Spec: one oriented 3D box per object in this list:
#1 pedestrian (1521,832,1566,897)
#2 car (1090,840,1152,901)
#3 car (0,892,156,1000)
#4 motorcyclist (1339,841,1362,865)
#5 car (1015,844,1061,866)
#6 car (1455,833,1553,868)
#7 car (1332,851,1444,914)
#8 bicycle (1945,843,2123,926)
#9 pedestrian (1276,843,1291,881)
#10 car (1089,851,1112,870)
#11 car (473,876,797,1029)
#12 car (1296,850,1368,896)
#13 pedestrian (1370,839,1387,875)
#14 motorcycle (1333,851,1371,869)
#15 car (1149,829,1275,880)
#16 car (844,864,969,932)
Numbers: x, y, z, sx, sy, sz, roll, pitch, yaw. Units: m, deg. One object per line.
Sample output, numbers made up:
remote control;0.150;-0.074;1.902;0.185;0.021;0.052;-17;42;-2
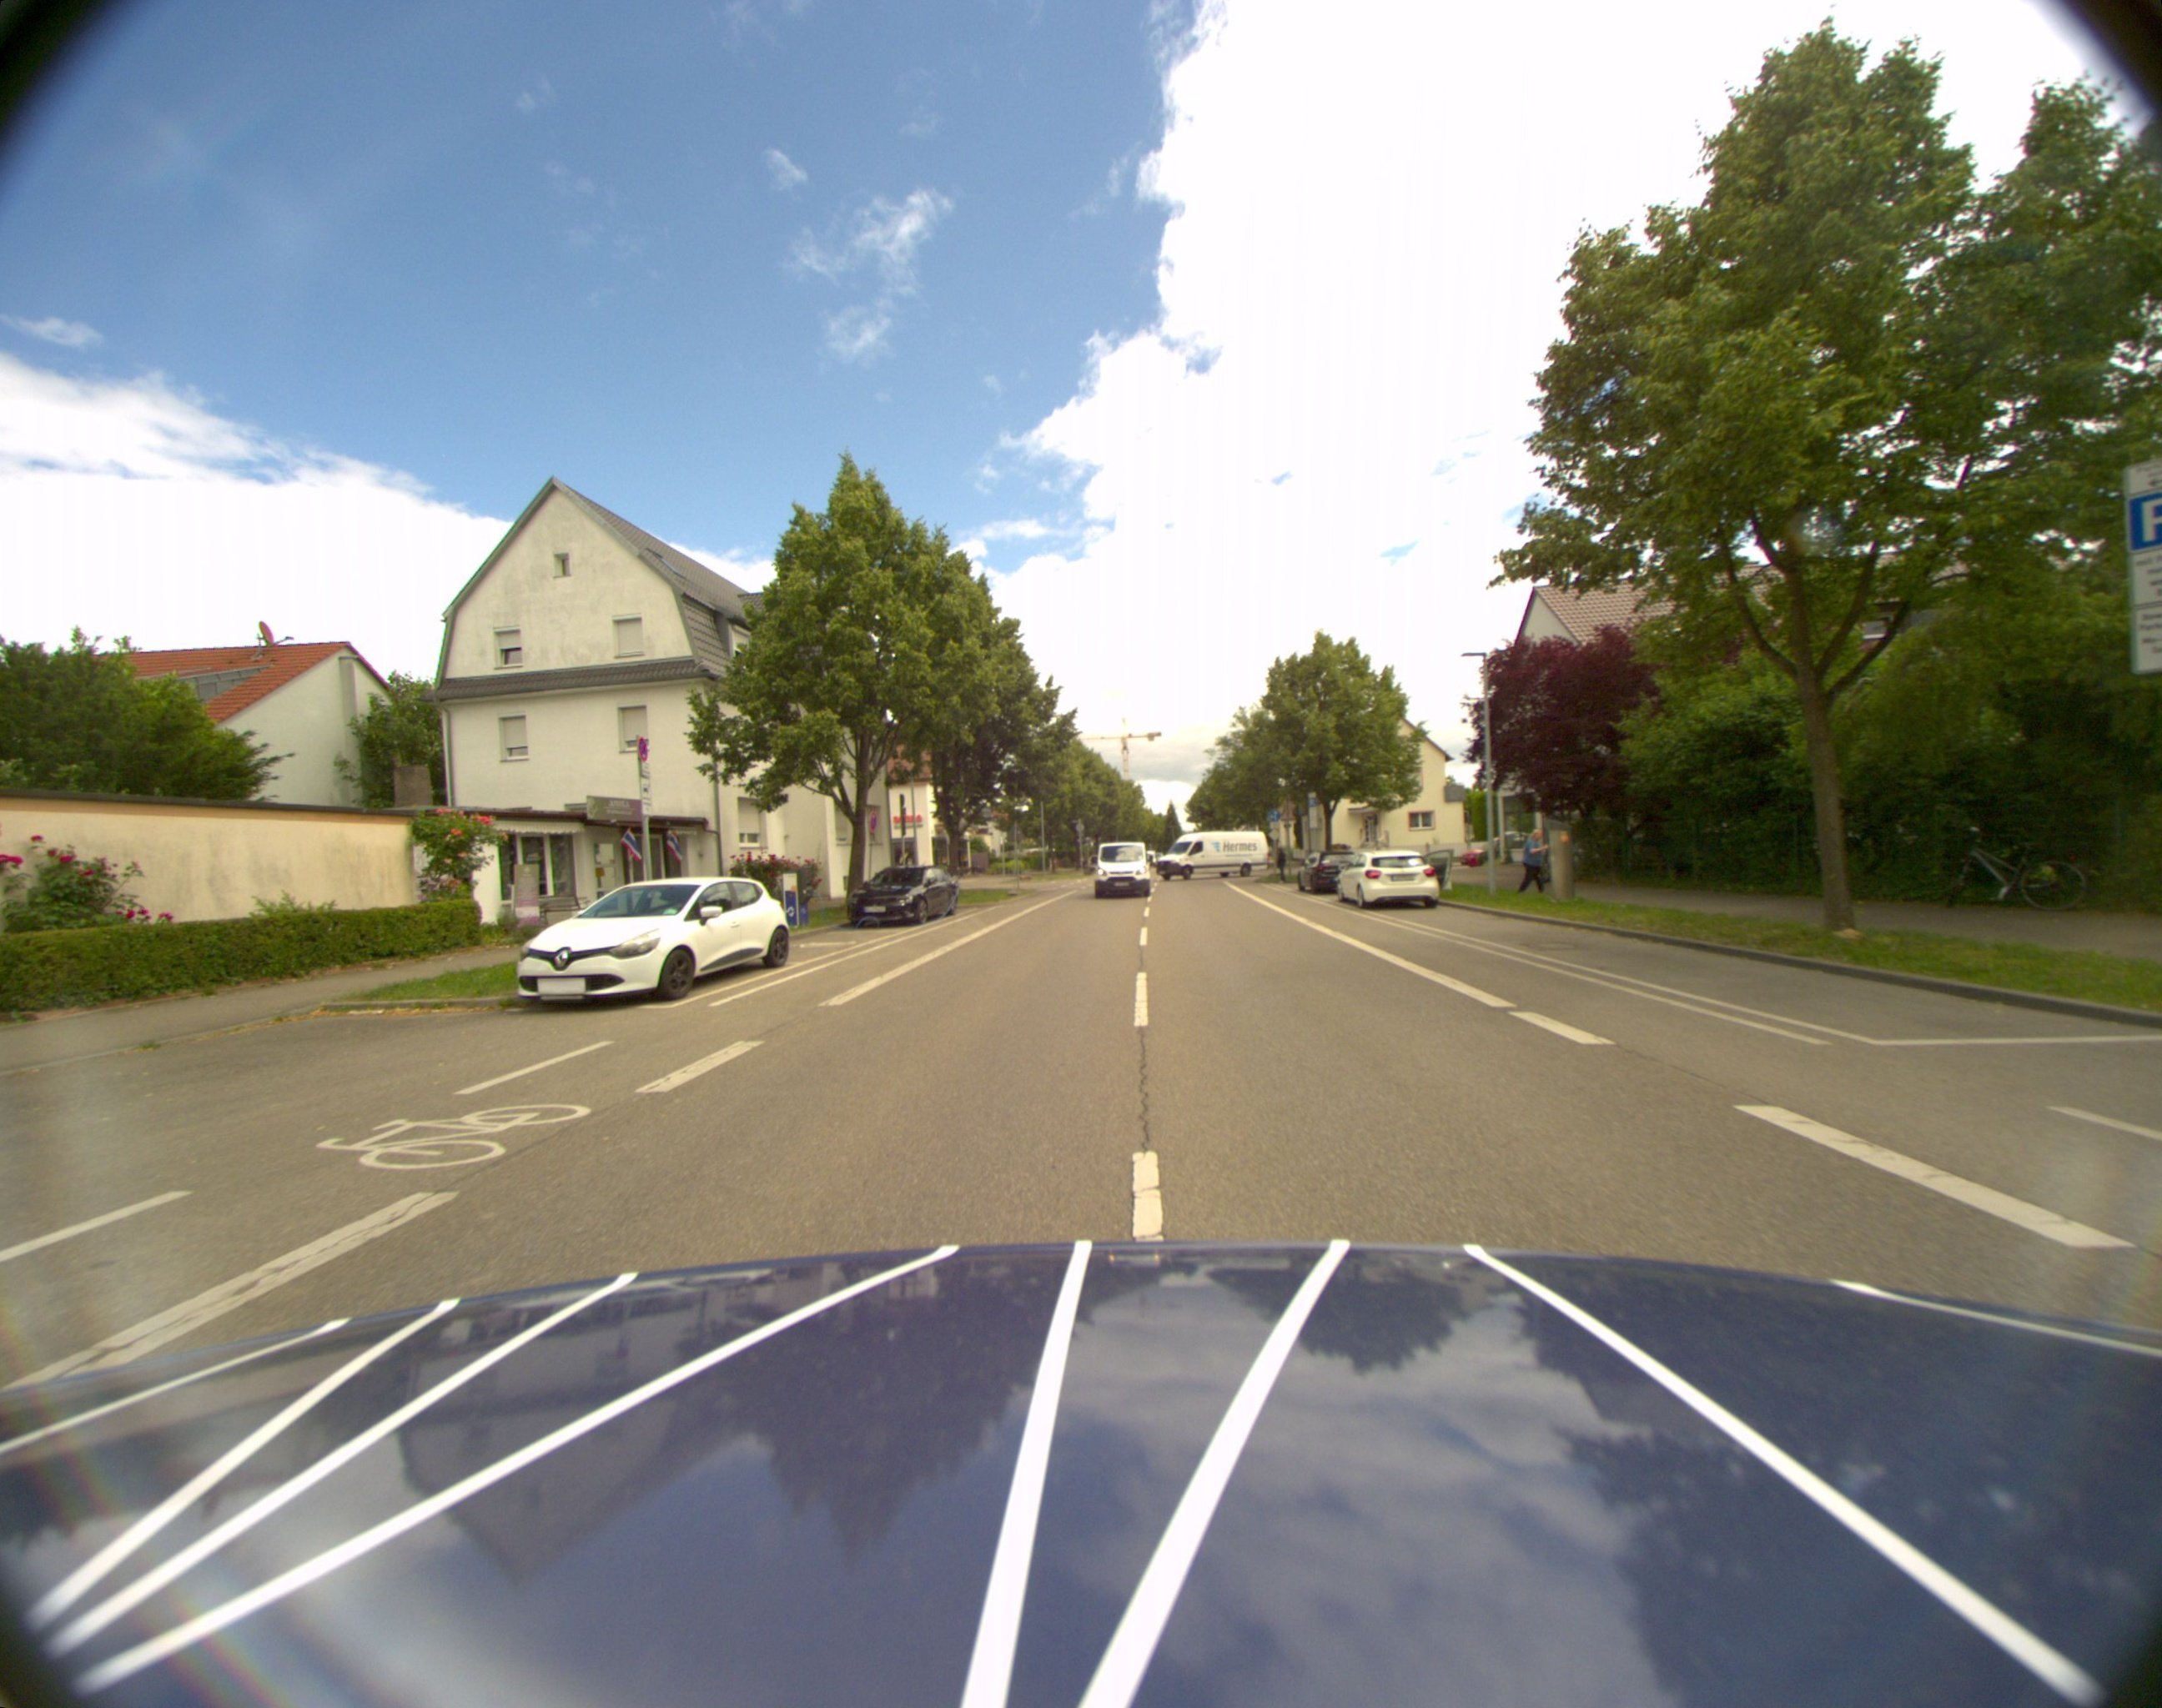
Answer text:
pedestrian;11.254;0.249;18.478;0.584;1.520;0.697;-3;1;-29
car;1.590;0.546;28.553;1.998;2.002;5.052;-3;0;6
car;-16.382;1.397;10.679;1.676;1.454;4.001;-2;0;5
motorcyclist;16.245;-0.071;45.835;1.108;1.357;0.754;-2;1;6
car;-5.602;0.165;99.057;5.726;2.576;1.998;-2;0;3
car;23.494;-0.213;42.325;4.357;1.768;1.872;-2;2;4
car;7.823;0.659;19.753;1.717;1.398;4.303;-2;0;9
bicycle;13.162;0.393;10.567;0.463;1.042;1.582;-3;0;0
pedestrian;9.207;0.346;34.552;0.543;1.671;0.751;-4;-1;16
car;1.809;0.568;68.832;1.725;1.571;4.062;-2;0;5
car;-5.538;1.121;10.137;1.676;1.454;4.001;-2;0;5
car;8.548;0.615;26.206;1.646;1.412;4.022;-2;0;8
pedestrian;12.892;0.120;32.895;0.431;1.543;0.806;-3;1;7
motorcycle;16.358;0.372;45.861;2.117;1.025;0.481;-2;1;6
car;7.621;-0.020;43.793;7.323;2.579;2.215;-2;0;-29
car;-4.396;1.048;19.900;1.709;1.446;4.618;-2;0;6
